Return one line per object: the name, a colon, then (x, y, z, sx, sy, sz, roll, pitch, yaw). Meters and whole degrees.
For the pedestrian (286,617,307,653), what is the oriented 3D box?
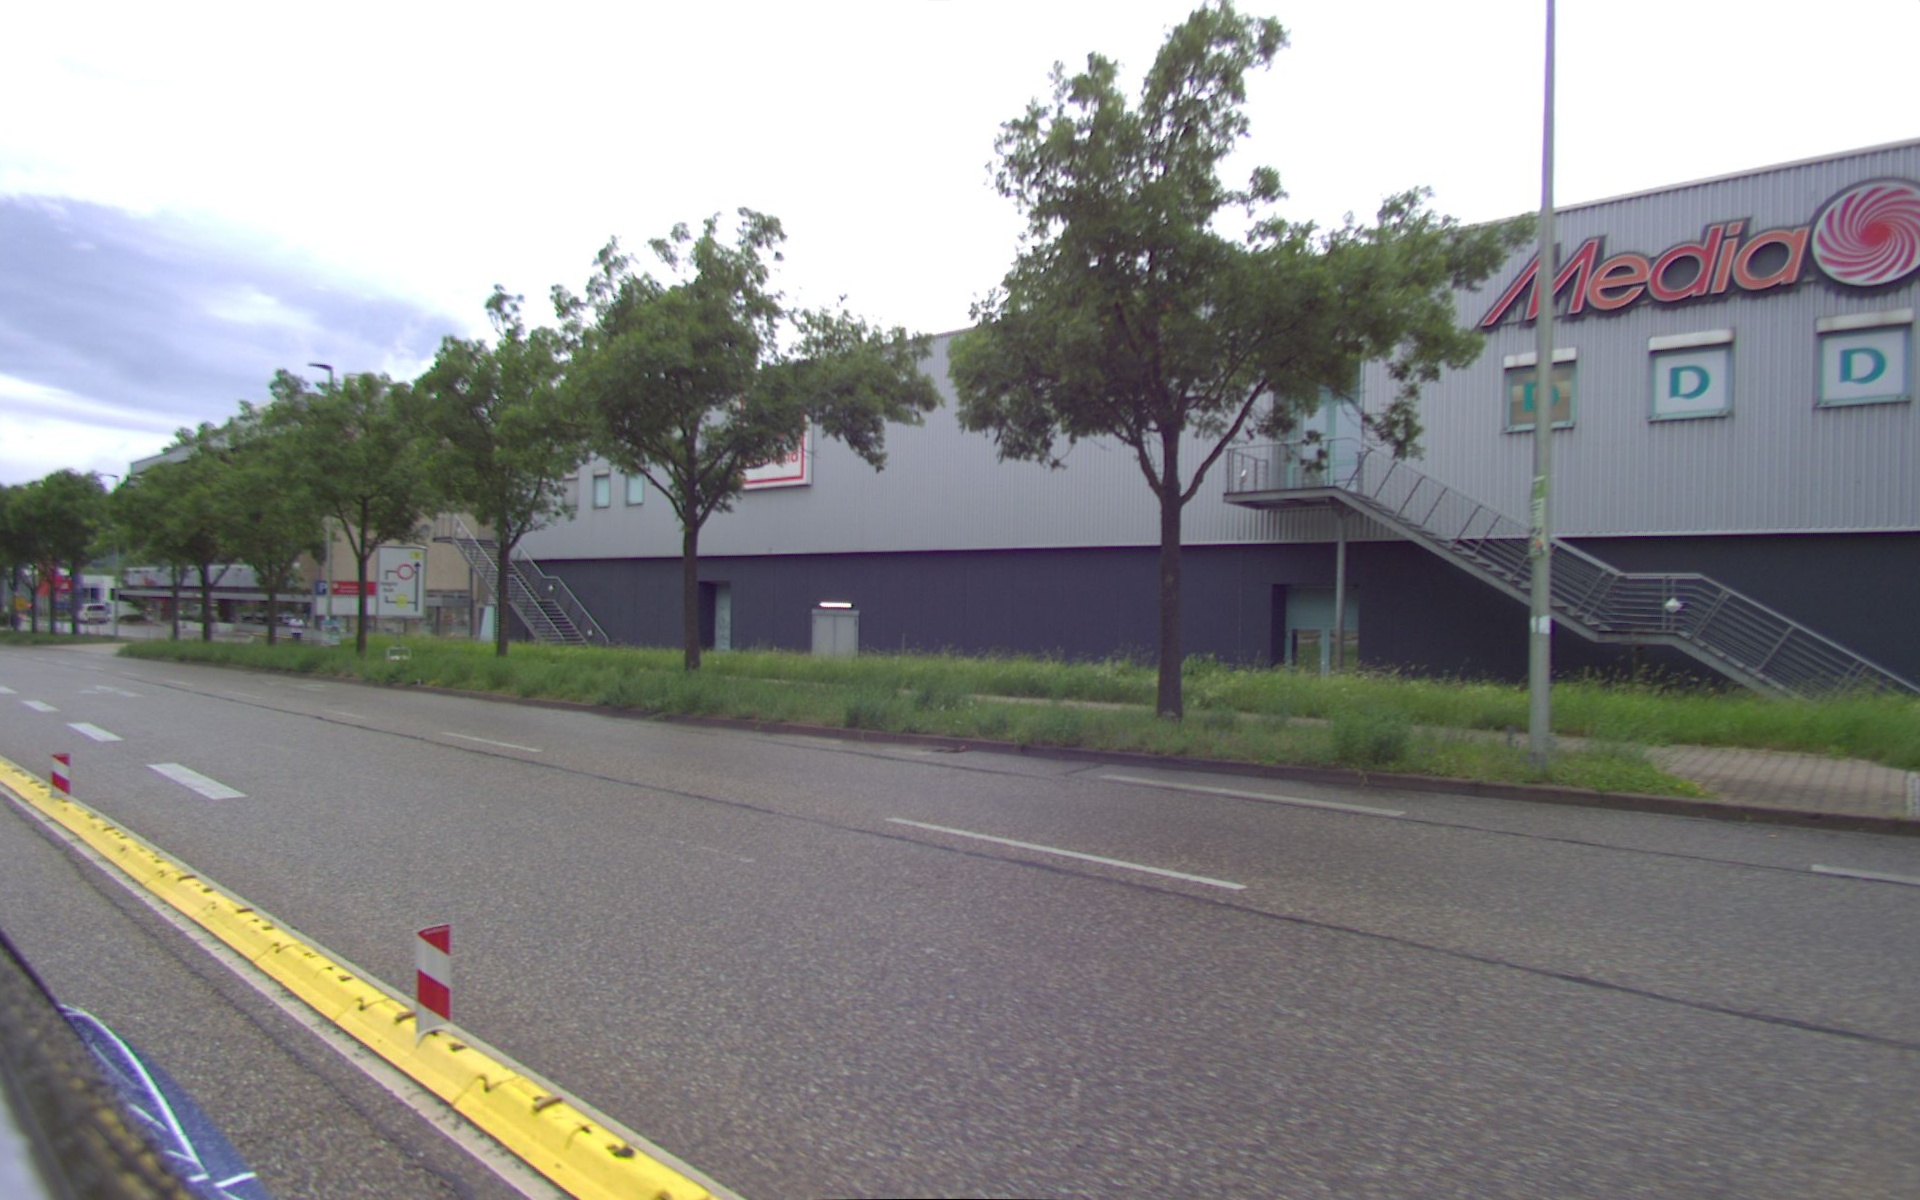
pedestrian: (-29.918, 1.563, 45.653, 0.766, 1.595, 0.578, -1, 0, 40)

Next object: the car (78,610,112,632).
car: (-88.310, 2.150, 103.274, 4.886, 2.028, 1.972, 0, 4, 43)
